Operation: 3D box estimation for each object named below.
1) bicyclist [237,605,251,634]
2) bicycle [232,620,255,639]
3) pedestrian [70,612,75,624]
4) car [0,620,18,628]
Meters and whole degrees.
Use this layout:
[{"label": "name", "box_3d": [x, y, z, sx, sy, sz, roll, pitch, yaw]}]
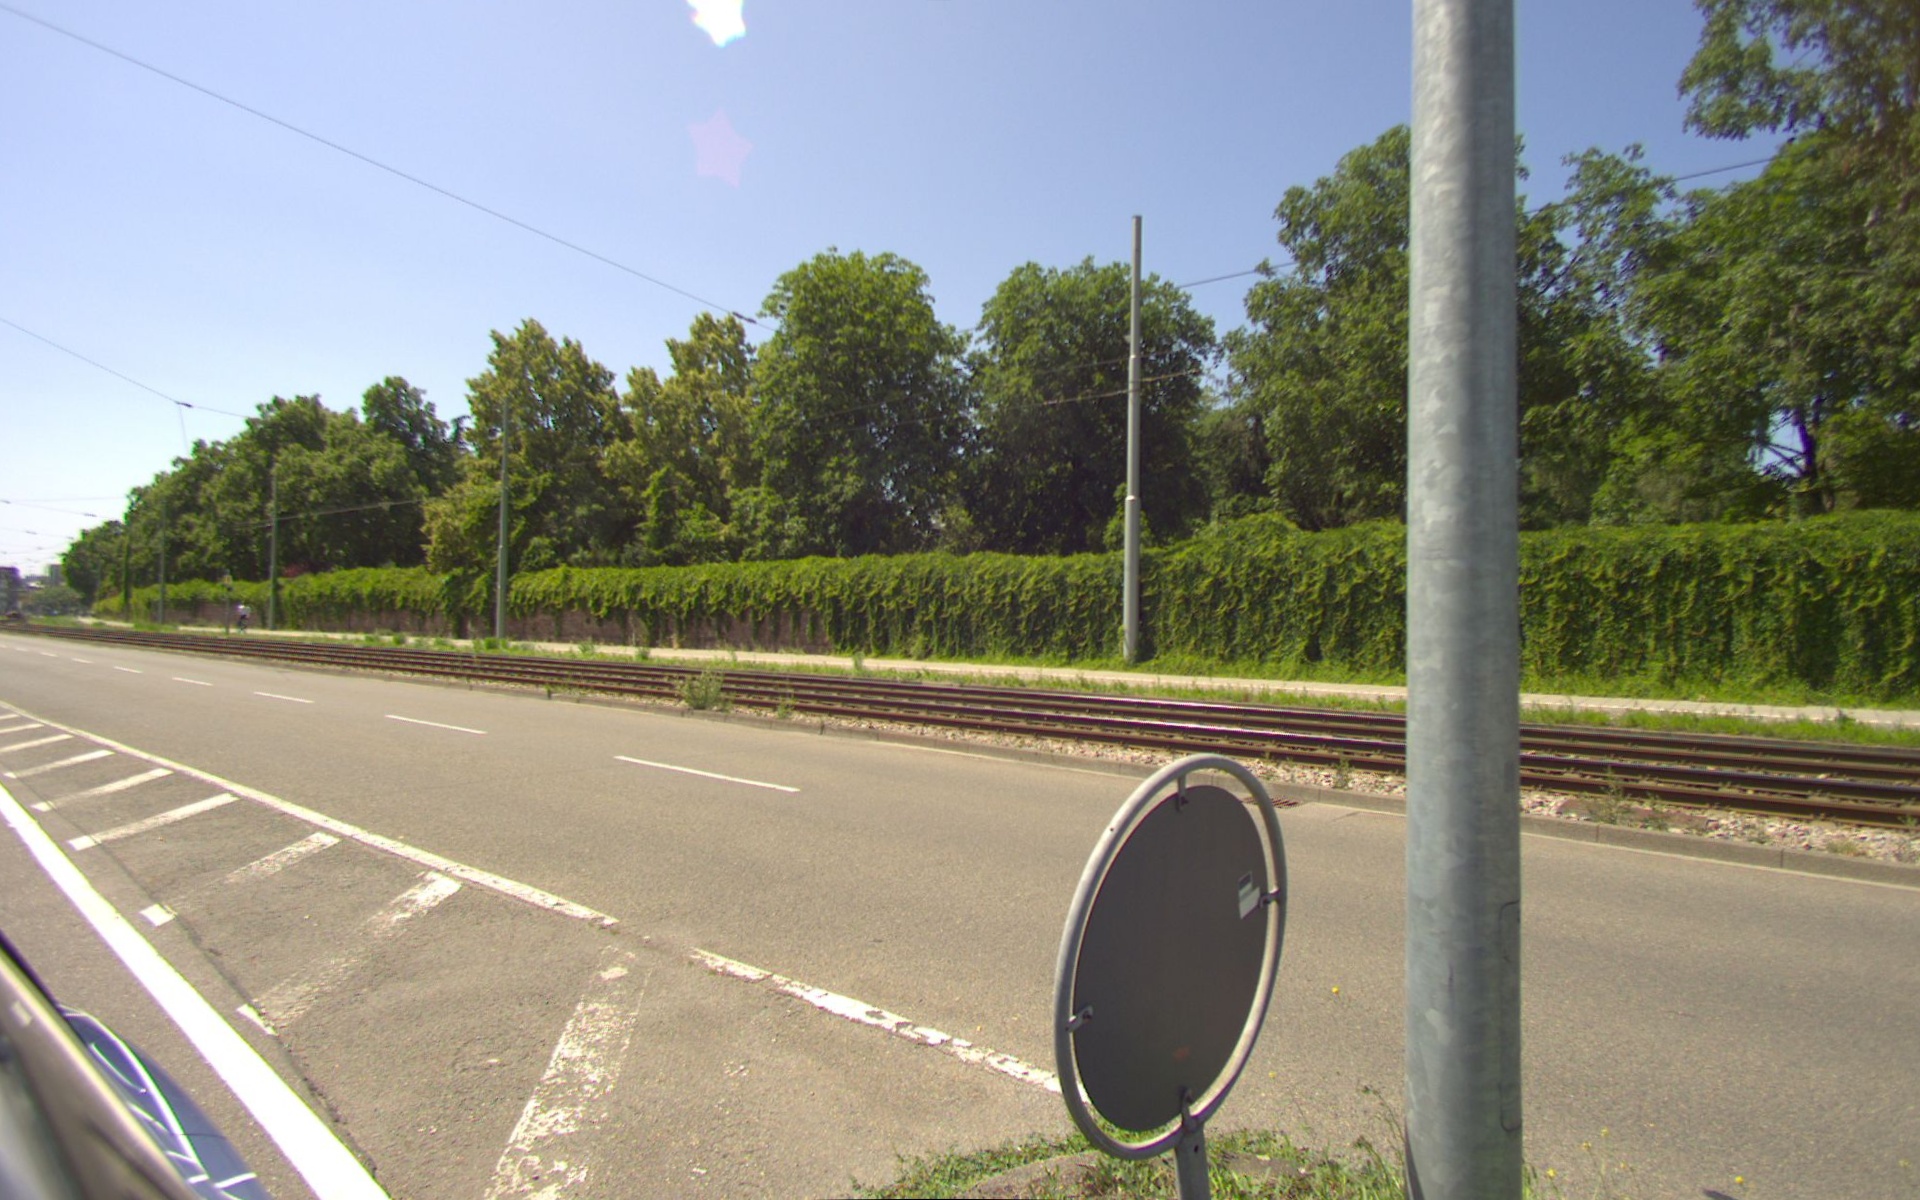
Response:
[{"label": "bicyclist", "box_3d": [-41.573, 1.129, 58.762, 0.768, 1.624, 0.477, 0, 0, 38]}, {"label": "bicycle", "box_3d": [-41.648, 1.685, 58.826, 1.976, 1.063, 0.610, 0, 0, 39]}, {"label": "pedestrian", "box_3d": [-126.673, 2.620, 144.455, 0.302, 1.677, 0.447, -1, -2, 41]}, {"label": "car", "box_3d": [-177.763, 4.453, 188.968, 1.772, 1.508, 3.976, -1, 0, -28]}]
